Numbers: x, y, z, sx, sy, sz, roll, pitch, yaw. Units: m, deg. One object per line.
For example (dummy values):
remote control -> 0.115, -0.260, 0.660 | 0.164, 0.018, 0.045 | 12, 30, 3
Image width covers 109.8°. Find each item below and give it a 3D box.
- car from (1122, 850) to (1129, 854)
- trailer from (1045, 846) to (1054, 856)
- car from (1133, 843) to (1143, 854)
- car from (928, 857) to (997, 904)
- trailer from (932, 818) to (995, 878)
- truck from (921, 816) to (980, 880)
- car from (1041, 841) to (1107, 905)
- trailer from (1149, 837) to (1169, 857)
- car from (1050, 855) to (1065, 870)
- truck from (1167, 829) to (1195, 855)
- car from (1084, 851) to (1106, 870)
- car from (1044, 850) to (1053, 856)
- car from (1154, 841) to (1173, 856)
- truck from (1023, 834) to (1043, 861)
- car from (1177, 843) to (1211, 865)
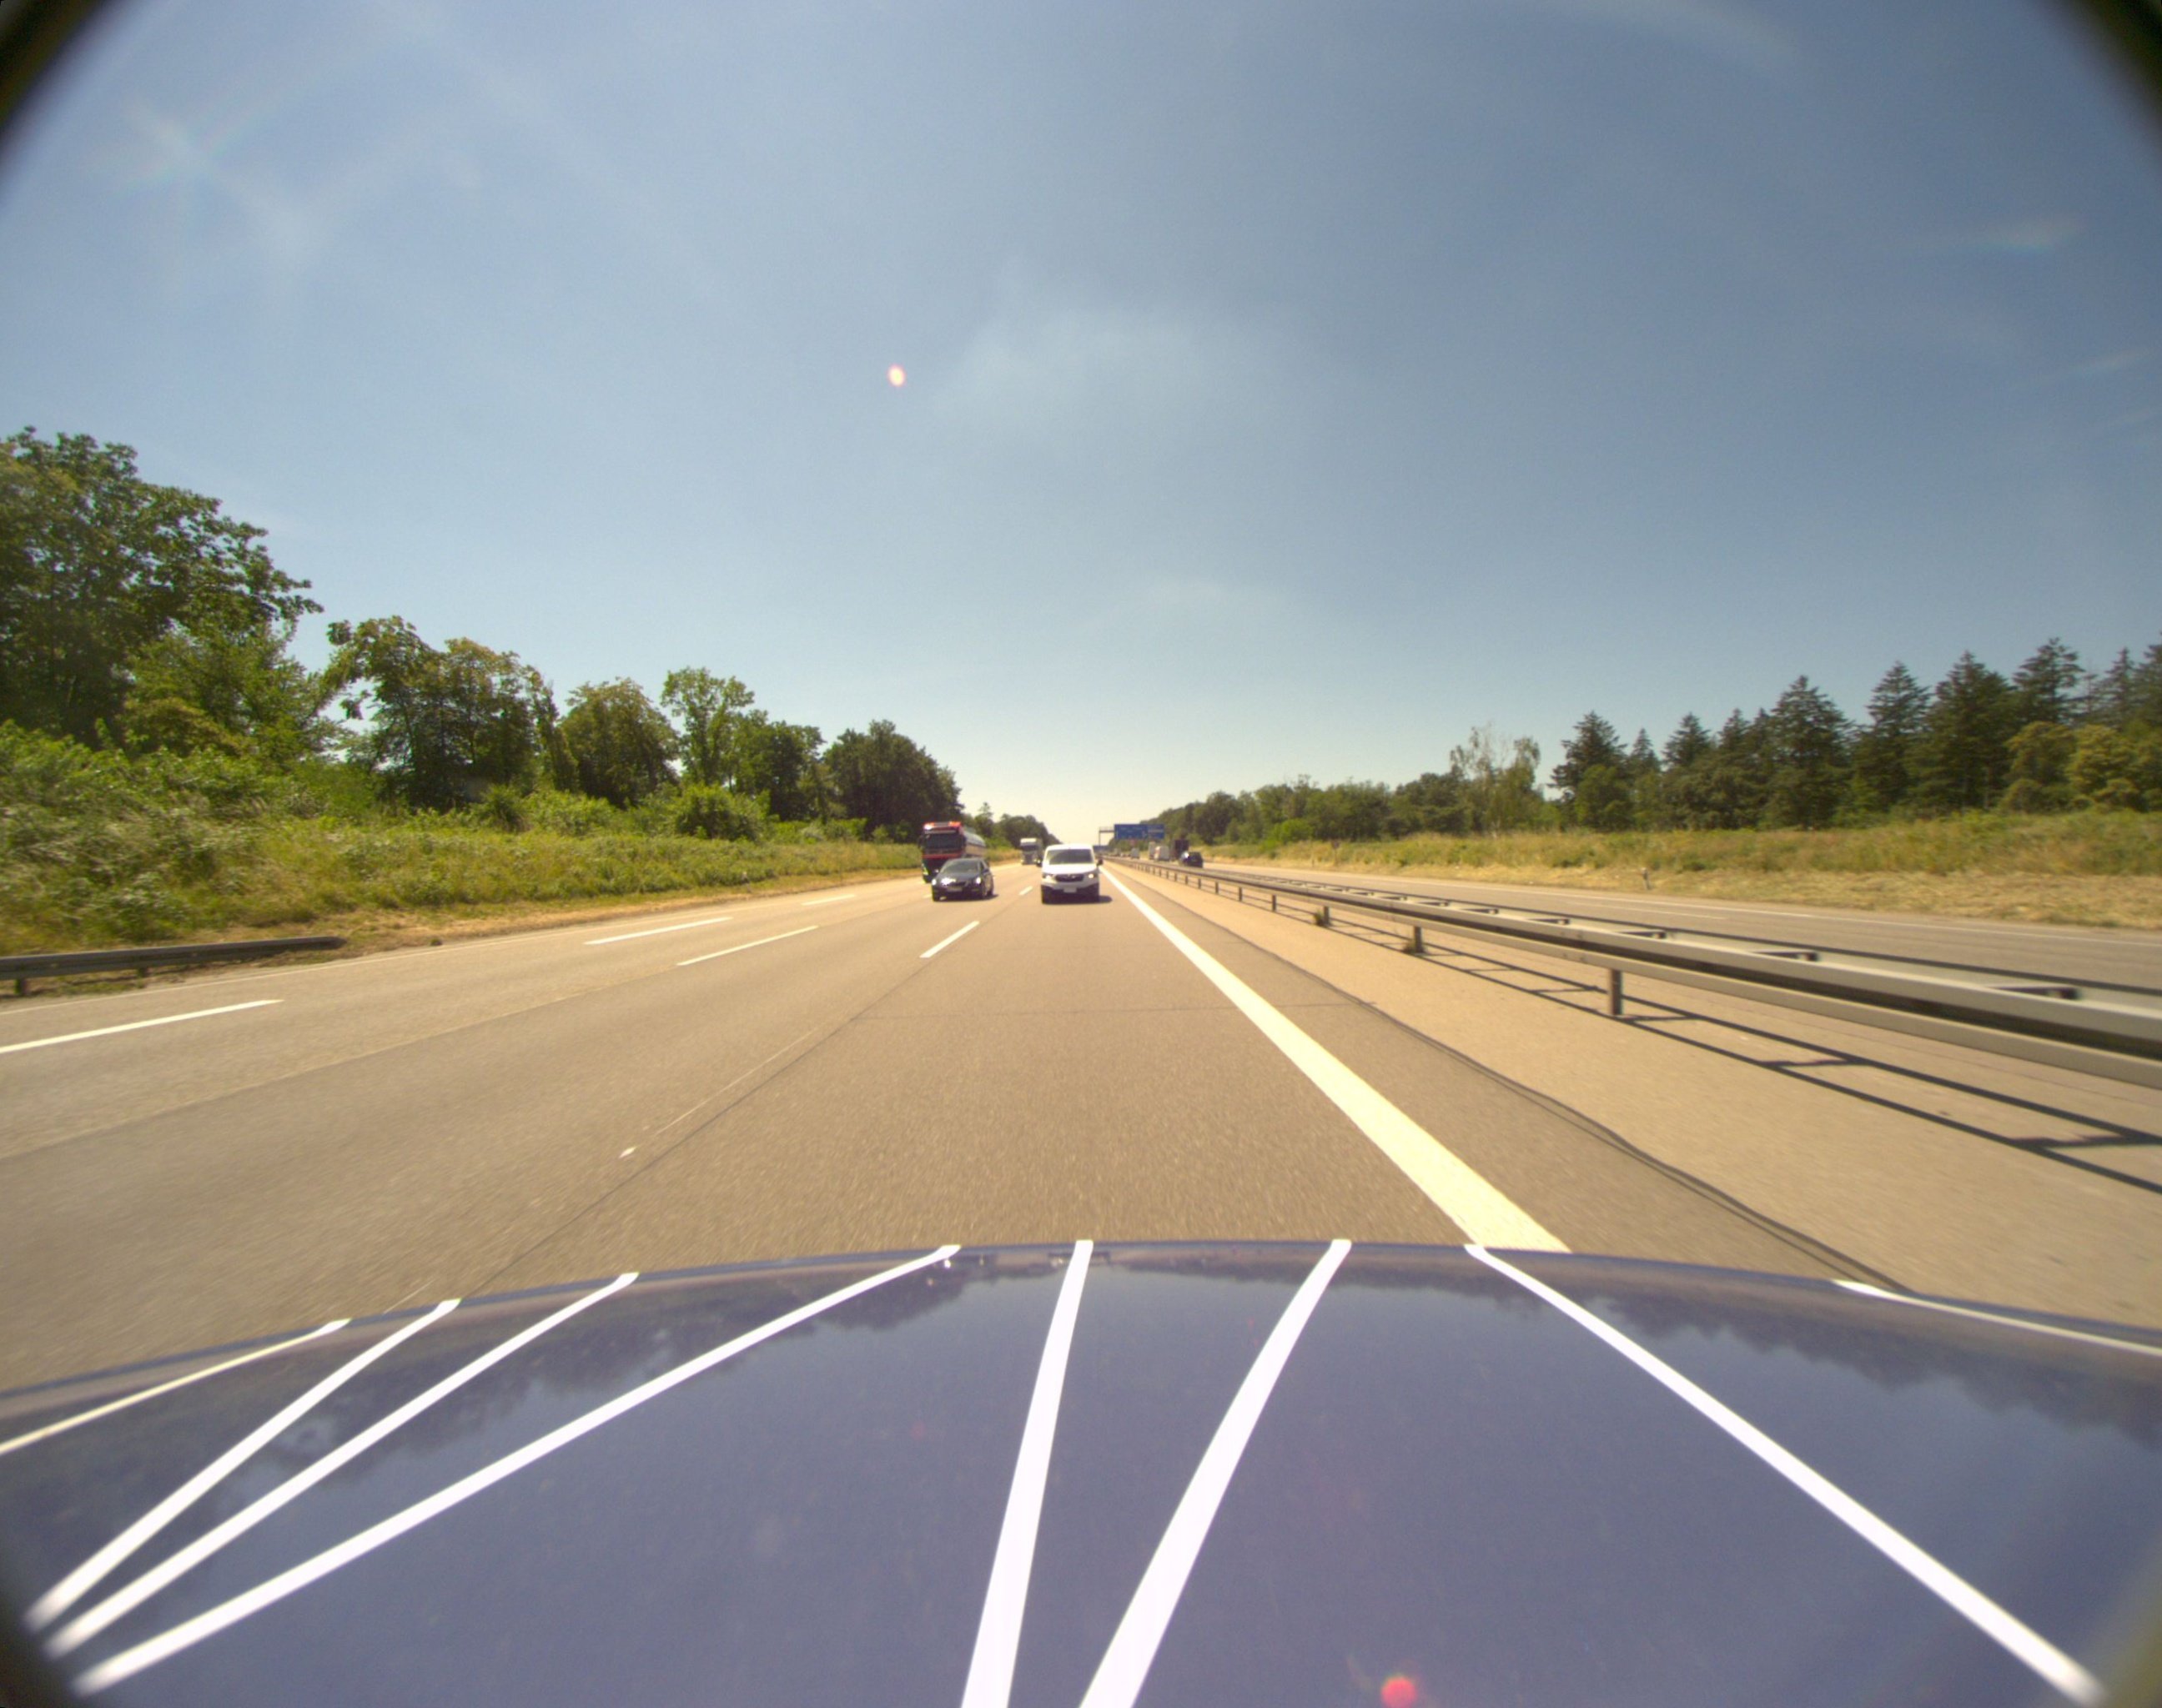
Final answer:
car -> 14.957, -0.635, 257.362 | 1.967, 1.420, 5.289 | 1, 0, 0
trailer -> -7.401, -0.682, 177.405 | 1.849, 2.196, 3.197 | -2, 1, 0
car -> 14.395, -1.342, 192.165 | 1.998, 2.555, 6.389 | 1, 0, 1
car -> -4.239, 0.899, 27.764 | 1.806, 1.475, 4.271 | -2, 0, 0
trailer -> -8.219, -0.423, 54.776 | 2.535, 3.712, 11.547 | -2, 0, 0
truck -> -8.262, -0.382, 48.679 | 2.535, 3.712, 6.098 | -2, 1, 0
car -> -0.171, 0.553, 24.766 | 1.870, 1.807, 4.940 | -2, 0, 1
trailer -> 17.792, -1.611, 174.453 | 3.163, 4.174, 14.124 | 1, 0, 0
car -> -3.319, 1.220, 109.009 | 1.998, 2.002, 4.000 | -2, 0, 0
truck -> 18.265, -2.151, 139.505 | 3.385, 4.598, 12.185 | 1, 1, 1
car -> 1.058, 0.476, 58.369 | 1.581, 1.412, 3.352 | -2, 0, 0
car -> -7.392, -0.256, 174.128 | 1.845, 1.275, 3.352 | -2, 0, 0
car -> 13.720, -0.956, 126.706 | 2.370, 2.434, 7.132 | 1, 0, 0
truck -> -7.411, -1.015, 117.810 | 2.603, 3.980, 6.173 | -2, 1, 0
car -> 10.418, -0.013, 70.353 | 2.370, 1.884, 5.224 | 1, 0, 0
